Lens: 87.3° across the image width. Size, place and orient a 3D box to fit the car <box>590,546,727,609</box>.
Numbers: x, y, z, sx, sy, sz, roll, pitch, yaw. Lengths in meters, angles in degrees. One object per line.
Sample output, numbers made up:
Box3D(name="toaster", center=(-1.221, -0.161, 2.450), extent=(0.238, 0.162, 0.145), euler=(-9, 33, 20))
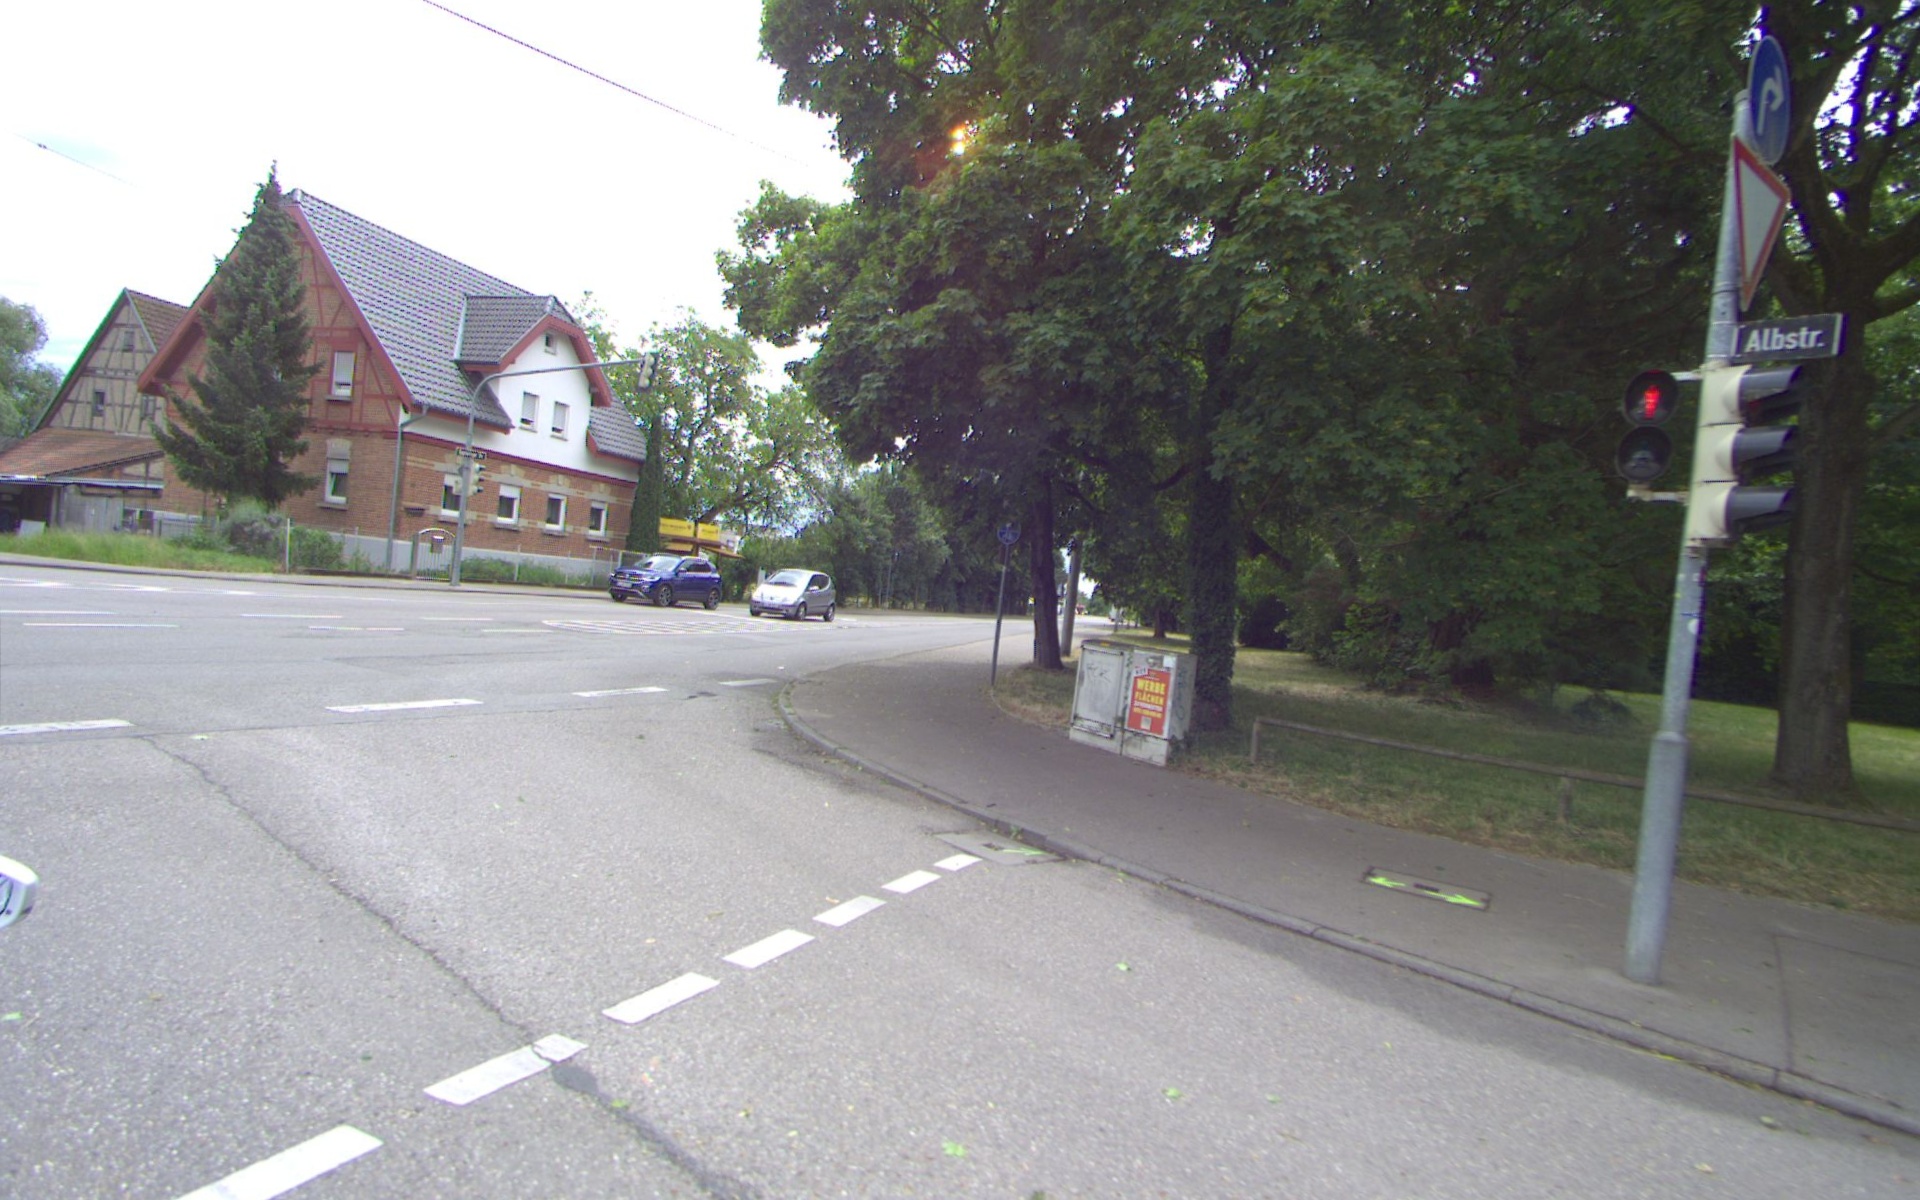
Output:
Box3D(name="car", center=(-9.008, -0.641, 30.424), extent=(1.891, 1.538, 3.998), euler=(6, 1, 19))

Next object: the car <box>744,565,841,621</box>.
Box3D(name="car", center=(-5.266, -0.191, 32.046), extent=(1.747, 1.538, 3.557), euler=(5, 1, 13))
